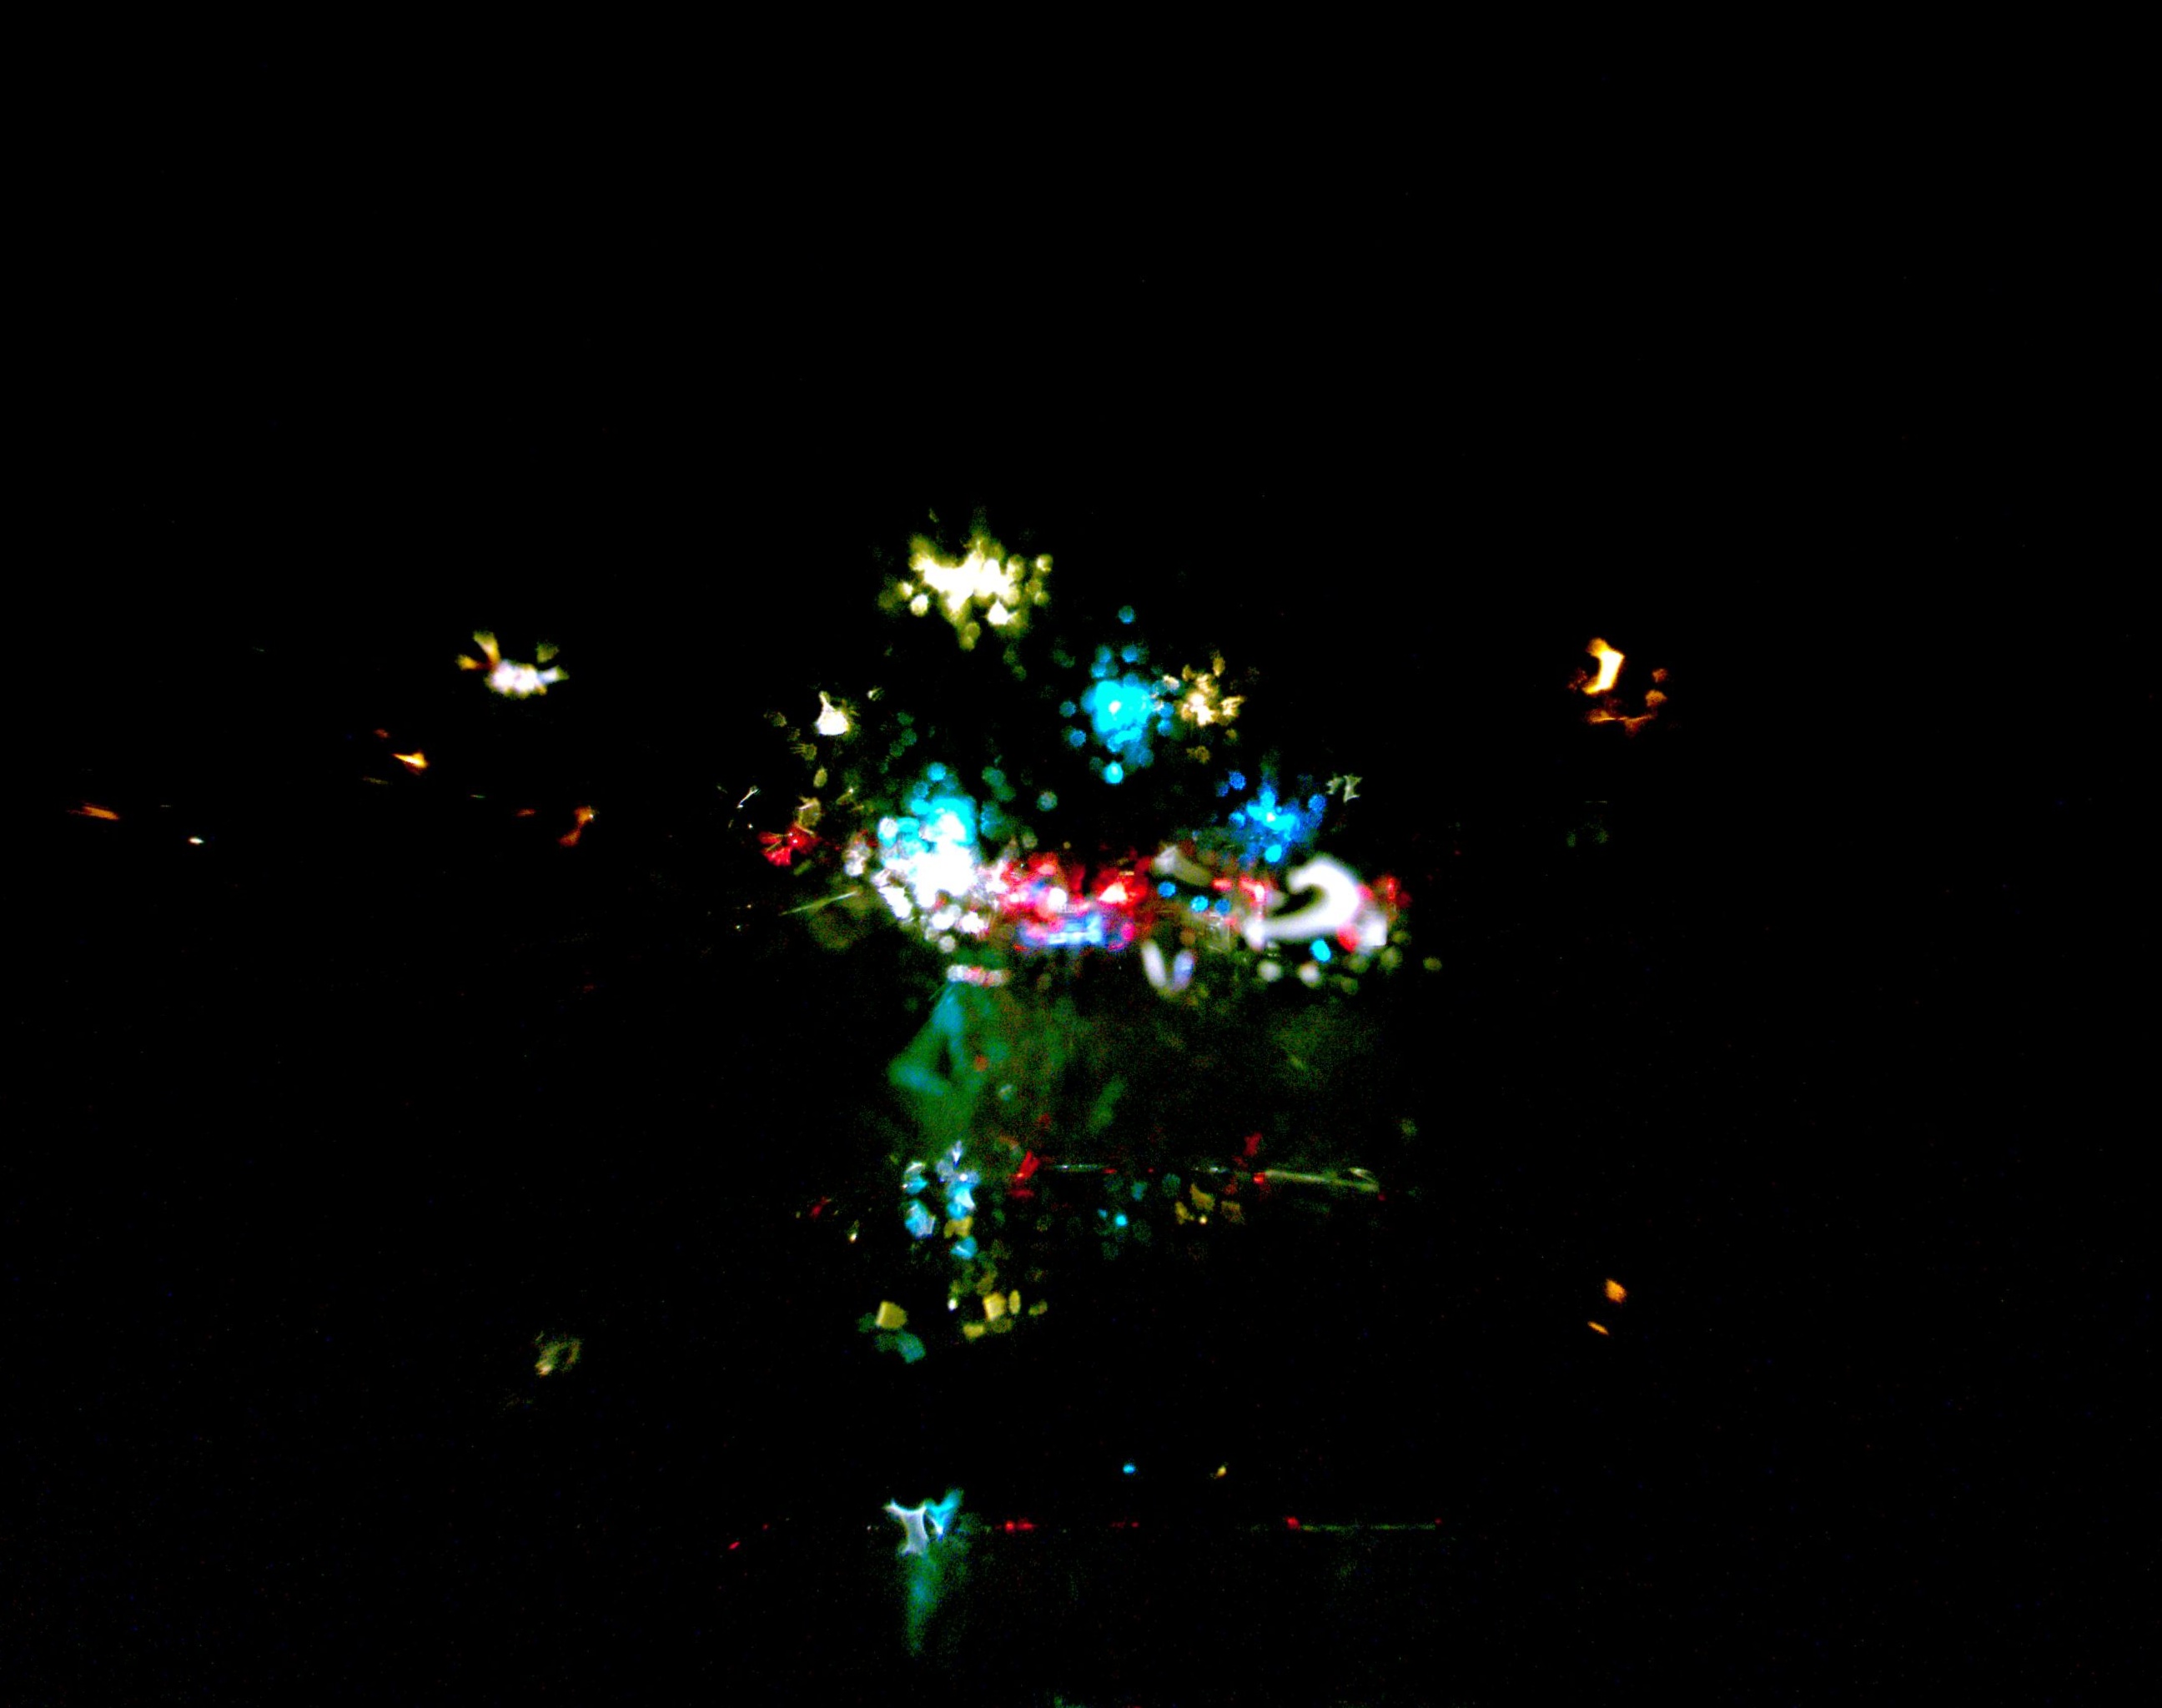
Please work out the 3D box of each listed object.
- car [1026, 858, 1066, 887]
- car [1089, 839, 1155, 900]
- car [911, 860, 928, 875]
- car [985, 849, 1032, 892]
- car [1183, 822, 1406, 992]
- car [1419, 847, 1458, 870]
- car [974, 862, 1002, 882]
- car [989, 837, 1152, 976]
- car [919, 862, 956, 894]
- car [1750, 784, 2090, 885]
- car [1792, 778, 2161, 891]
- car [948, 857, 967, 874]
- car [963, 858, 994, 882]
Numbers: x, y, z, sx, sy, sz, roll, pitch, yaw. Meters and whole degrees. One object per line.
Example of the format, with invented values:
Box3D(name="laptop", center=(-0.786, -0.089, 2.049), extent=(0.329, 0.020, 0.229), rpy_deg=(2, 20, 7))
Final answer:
Box3D(name="car", center=(-2.202, 1.116, 50.579), extent=(1.994, 1.718, 3.986), rpy_deg=(0, -1, -10))
Box3D(name="car", center=(1.425, 0.538, 29.568), extent=(1.965, 2.047, 3.994), rpy_deg=(0, -1, -4))
Box3D(name="car", center=(-21.245, 1.767, 107.154), extent=(1.996, 1.824, 3.982), rpy_deg=(0, -1, -13))
Box3D(name="car", center=(-3.592, 0.776, 39.731), extent=(1.994, 2.014, 3.986), rpy_deg=(0, -1, -10))
Box3D(name="car", center=(2.636, 0.597, 11.175), extent=(1.846, 1.865, 4.338), rpy_deg=(0, -1, -1))
Box3D(name="car", center=(26.982, 0.347, 61.555), extent=(1.761, 1.669, 4.081), rpy_deg=(0, -1, 10))
Box3D(name="car", center=(-8.003, 1.503, 69.795), extent=(1.996, 1.670, 3.982), rpy_deg=(0, -1, -13))
Box3D(name="car", center=(-0.157, 0.664, 12.313), extent=(2.008, 1.717, 4.450), rpy_deg=(0, 0, -1))
Box3D(name="car", center=(-9.076, 1.478, 51.281), extent=(2.017, 1.887, 4.431), rpy_deg=(0, 0, -13))
Box3D(name="car", center=(14.493, -0.290, 14.429), extent=(3.838, 1.574, 1.845), rpy_deg=(0, -1, 31))
Box3D(name="car", center=(13.446, -0.243, 11.942), extent=(4.286, 1.460, 1.863), rpy_deg=(0, -1, 31))
Box3D(name="car", center=(-14.133, 1.286, 93.053), extent=(1.995, 1.820, 3.982), rpy_deg=(0, -1, -13))
Box3D(name="car", center=(-7.796, 1.166, 61.856), extent=(1.996, 1.732, 3.982), rpy_deg=(0, -1, -13))
